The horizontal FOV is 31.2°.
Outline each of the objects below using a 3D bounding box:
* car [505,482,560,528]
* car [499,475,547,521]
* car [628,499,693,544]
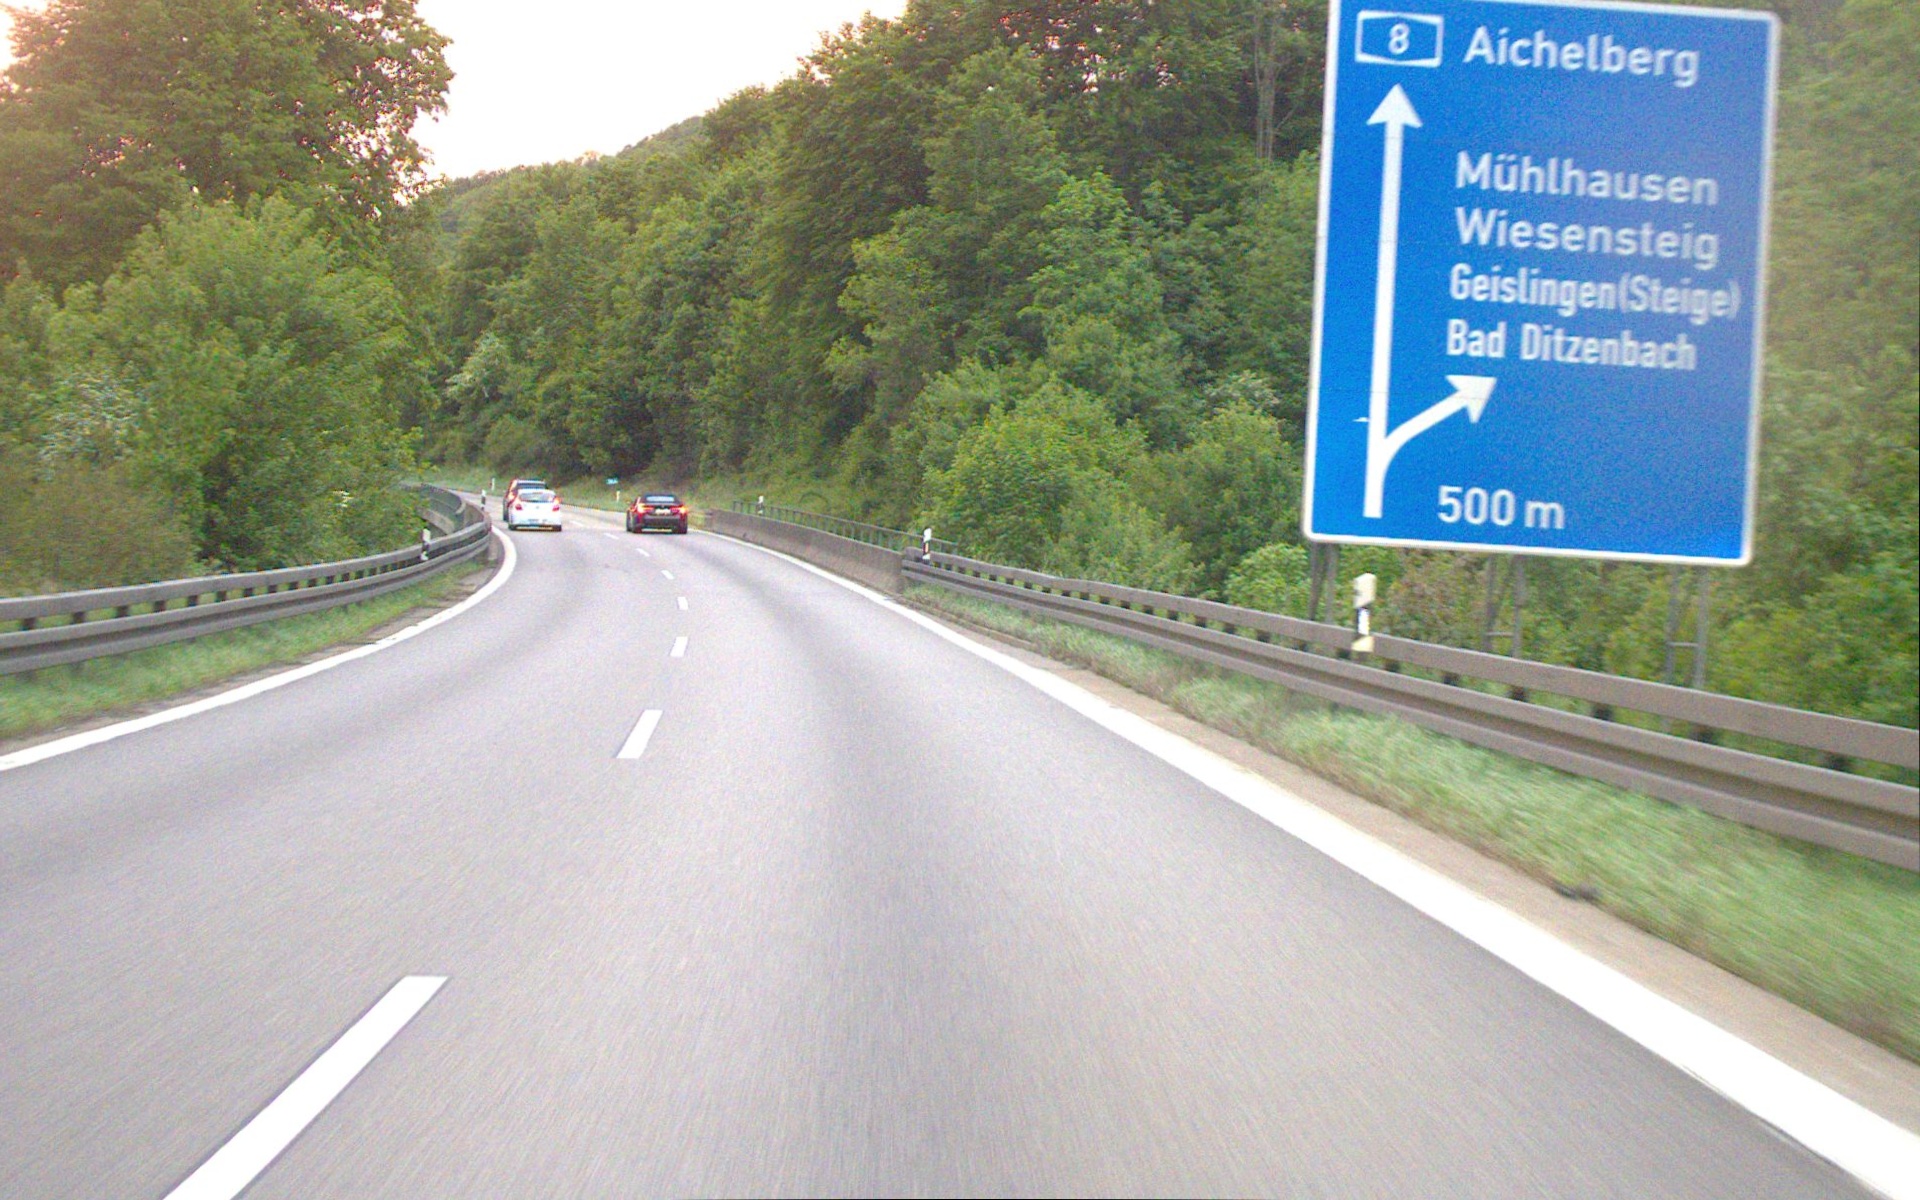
[{"bbox_3d":[-15.005,-3.331,120.863,1.718,1.496,4.001,2,0,-5],"label":"car"},{"bbox_3d":[-16.751,-3.917,131.917,1.718,1.629,4.001,-2,1,-6],"label":"car"},{"bbox_3d":[-10.459,-2.724,120.284,1.878,1.461,4.000,-1,0,0],"label":"car"}]
